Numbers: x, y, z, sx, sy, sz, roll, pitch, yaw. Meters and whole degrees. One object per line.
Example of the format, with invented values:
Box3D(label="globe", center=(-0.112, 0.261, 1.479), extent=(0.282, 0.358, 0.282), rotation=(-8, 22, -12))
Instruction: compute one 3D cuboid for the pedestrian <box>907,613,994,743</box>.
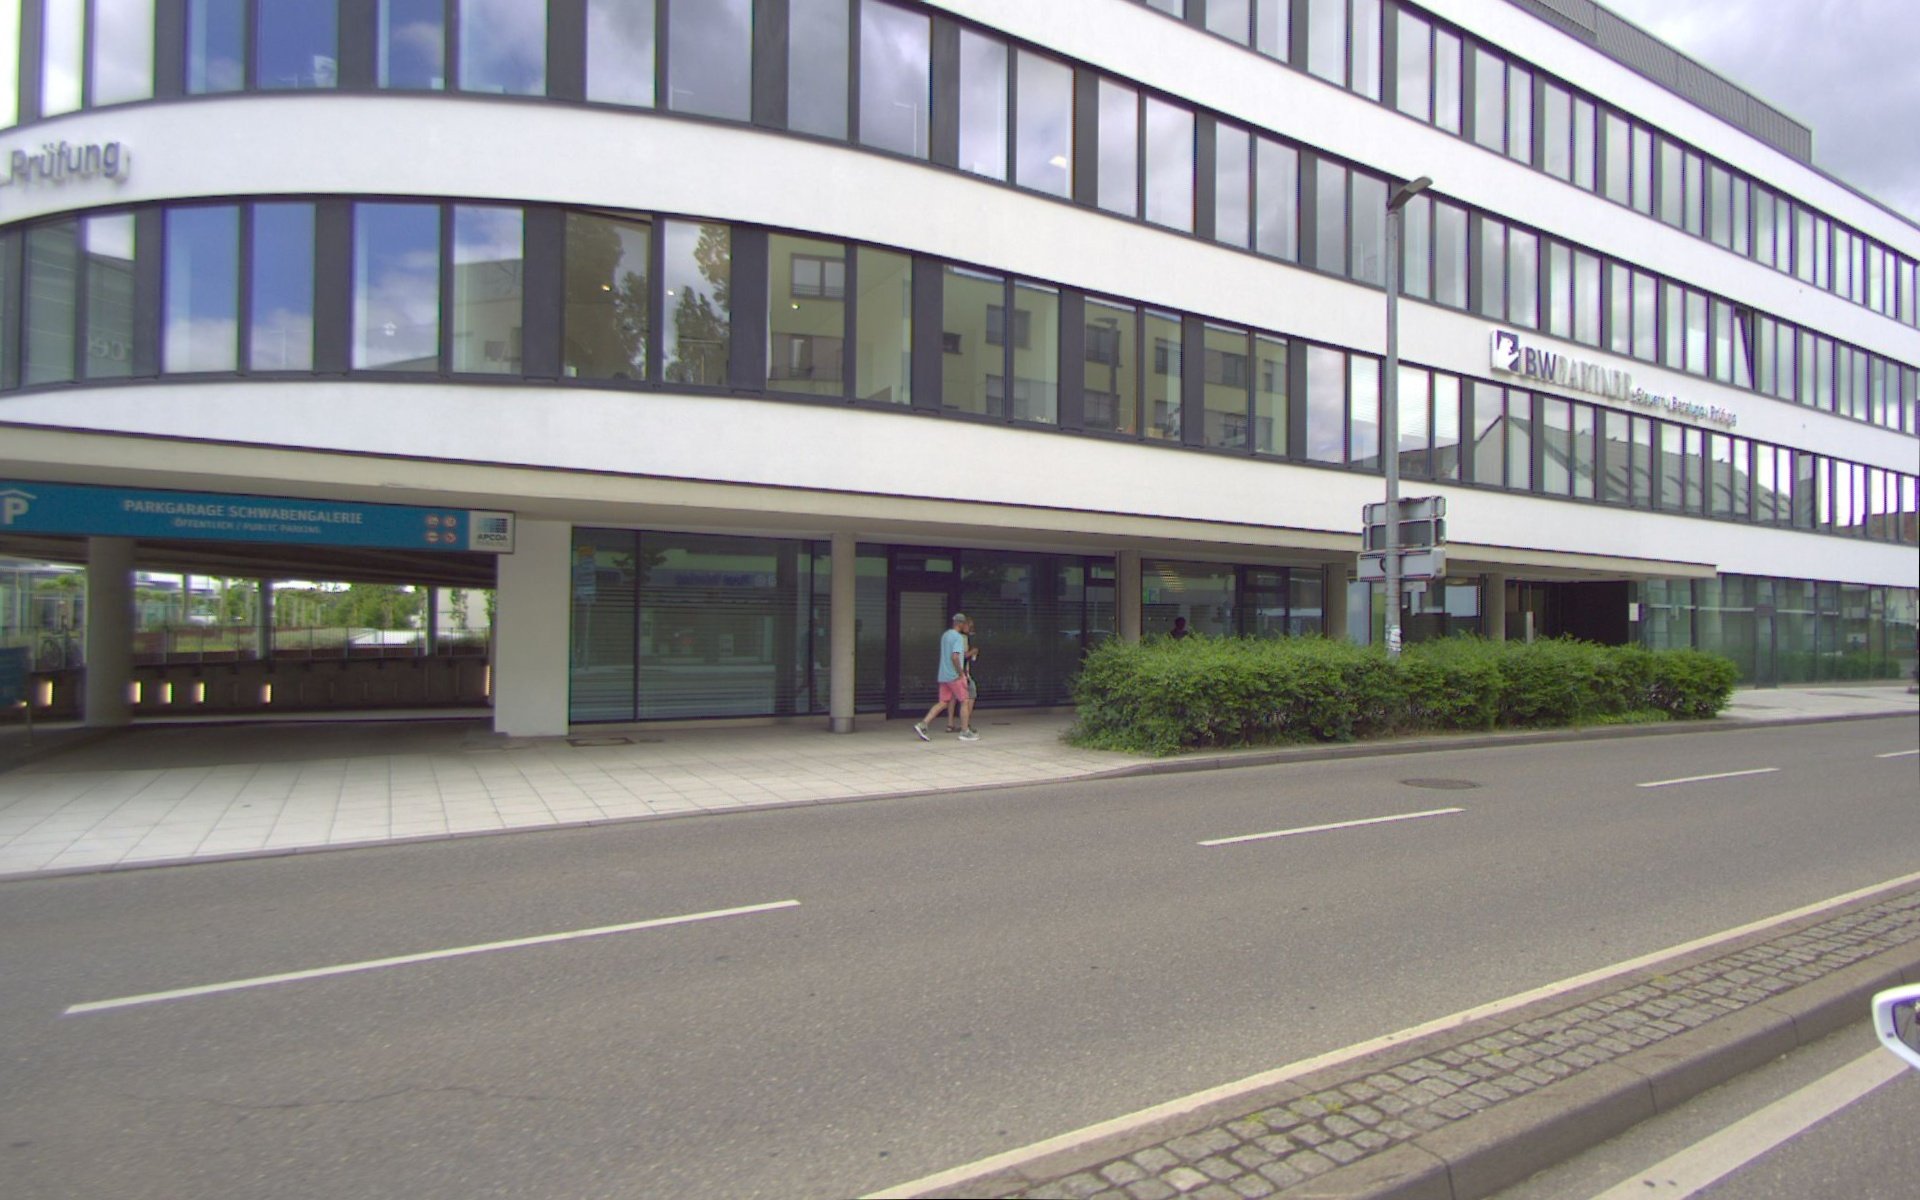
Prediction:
Box3D(label="pedestrian", center=(-0.132, 1.036, 13.687), extent=(0.919, 1.696, 0.727), rotation=(1, 0, -28))

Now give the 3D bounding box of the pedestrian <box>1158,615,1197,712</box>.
Box3D(label="pedestrian", center=(4.015, 1.164, 18.580), extent=(0.603, 1.752, 0.506), rotation=(1, -1, 1))

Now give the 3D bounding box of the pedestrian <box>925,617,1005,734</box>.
Box3D(label="pedestrian", center=(0.069, 1.080, 14.686), extent=(0.919, 1.635, 0.727), rotation=(1, 0, -28))

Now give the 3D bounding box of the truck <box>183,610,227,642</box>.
Box3D(label="truck", center=(-60.359, 2.032, 80.405), extent=(2.364, 2.312, 6.376), rotation=(1, 0, -34))

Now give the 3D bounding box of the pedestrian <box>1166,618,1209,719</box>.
Box3D(label="pedestrian", center=(3.992, 1.186, 17.633), extent=(0.604, 1.732, 0.505), rotation=(0, -2, 30))
